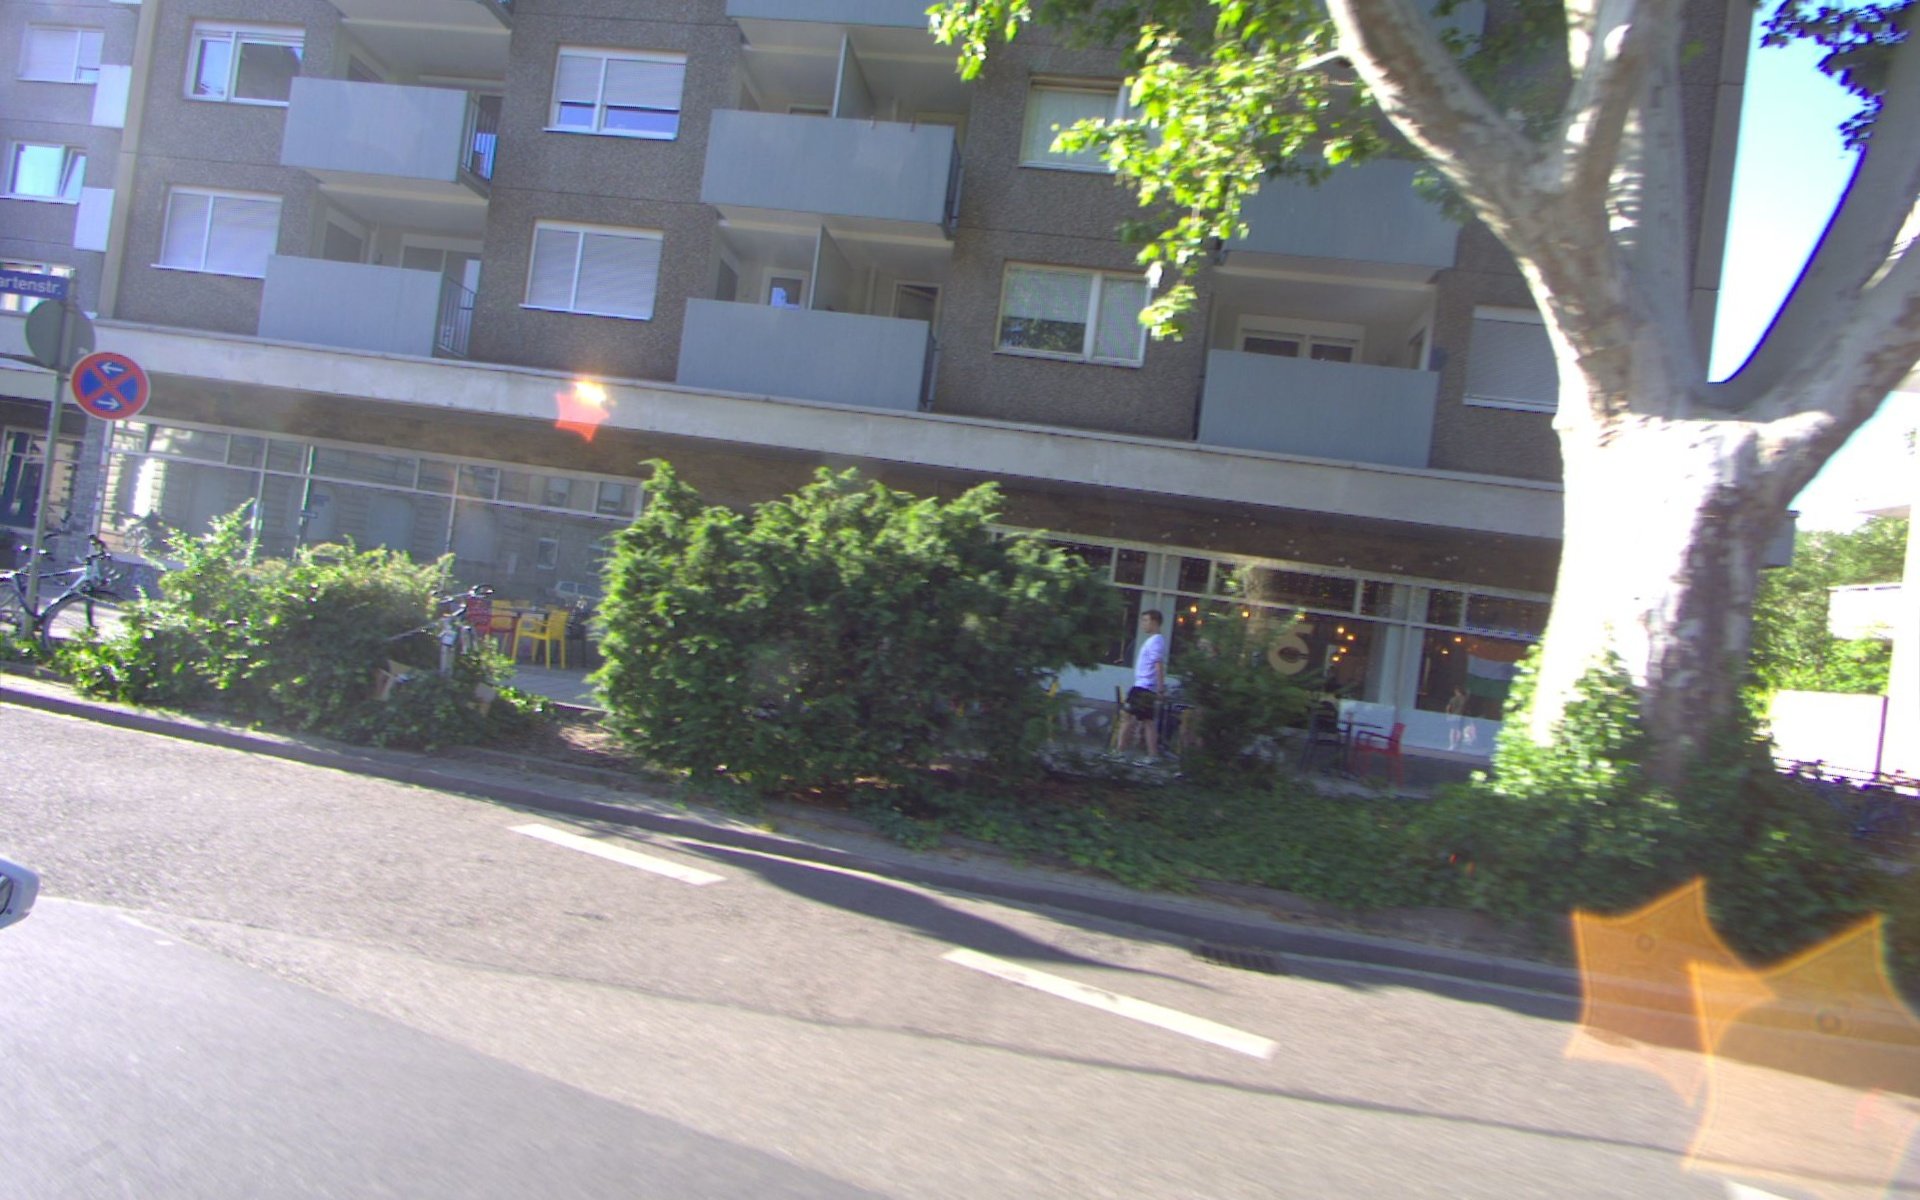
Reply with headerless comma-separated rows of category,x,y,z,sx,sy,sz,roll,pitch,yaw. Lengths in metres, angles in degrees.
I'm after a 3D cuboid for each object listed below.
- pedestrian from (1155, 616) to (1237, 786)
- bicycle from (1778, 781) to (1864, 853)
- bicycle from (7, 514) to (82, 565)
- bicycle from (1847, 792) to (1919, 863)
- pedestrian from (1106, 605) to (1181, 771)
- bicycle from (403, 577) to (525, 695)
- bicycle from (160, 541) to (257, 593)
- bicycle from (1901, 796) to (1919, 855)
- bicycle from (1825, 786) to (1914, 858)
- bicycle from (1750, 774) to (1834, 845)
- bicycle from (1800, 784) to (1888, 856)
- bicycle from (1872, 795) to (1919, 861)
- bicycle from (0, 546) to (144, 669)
pedestrian,2.545,1.074,10.923,0.632,1.712,0.687,7,0,11
bicycle,11.278,2.828,13.201,0.267,0.750,0.896,7,-1,-1
bicycle,-20.703,-1.358,22.760,1.299,0.954,0.433,7,0,7
bicycle,12.222,2.979,13.208,0.267,0.750,0.896,7,-1,-1
pedestrian,2.137,1.006,11.700,0.624,1.795,0.687,7,0,11
bicycle,-5.049,0.361,10.241,1.032,1.050,0.349,7,0,15
bicycle,-16.497,-0.723,22.093,1.620,0.909,0.645,7,-1,7
bicycle,12.923,3.024,13.176,0.267,0.750,0.896,7,-1,-1
bicycle,11.919,2.895,13.201,0.267,0.750,0.896,7,-1,-1
bicycle,10.939,2.745,13.253,0.267,0.750,0.896,7,-1,-1
bicycle,11.594,2.868,13.215,0.267,0.750,0.896,7,-1,-1
bicycle,12.540,3.019,13.193,0.267,0.750,0.896,7,-1,-1
bicycle,-8.253,0.038,8.969,1.703,0.915,0.544,7,0,15
